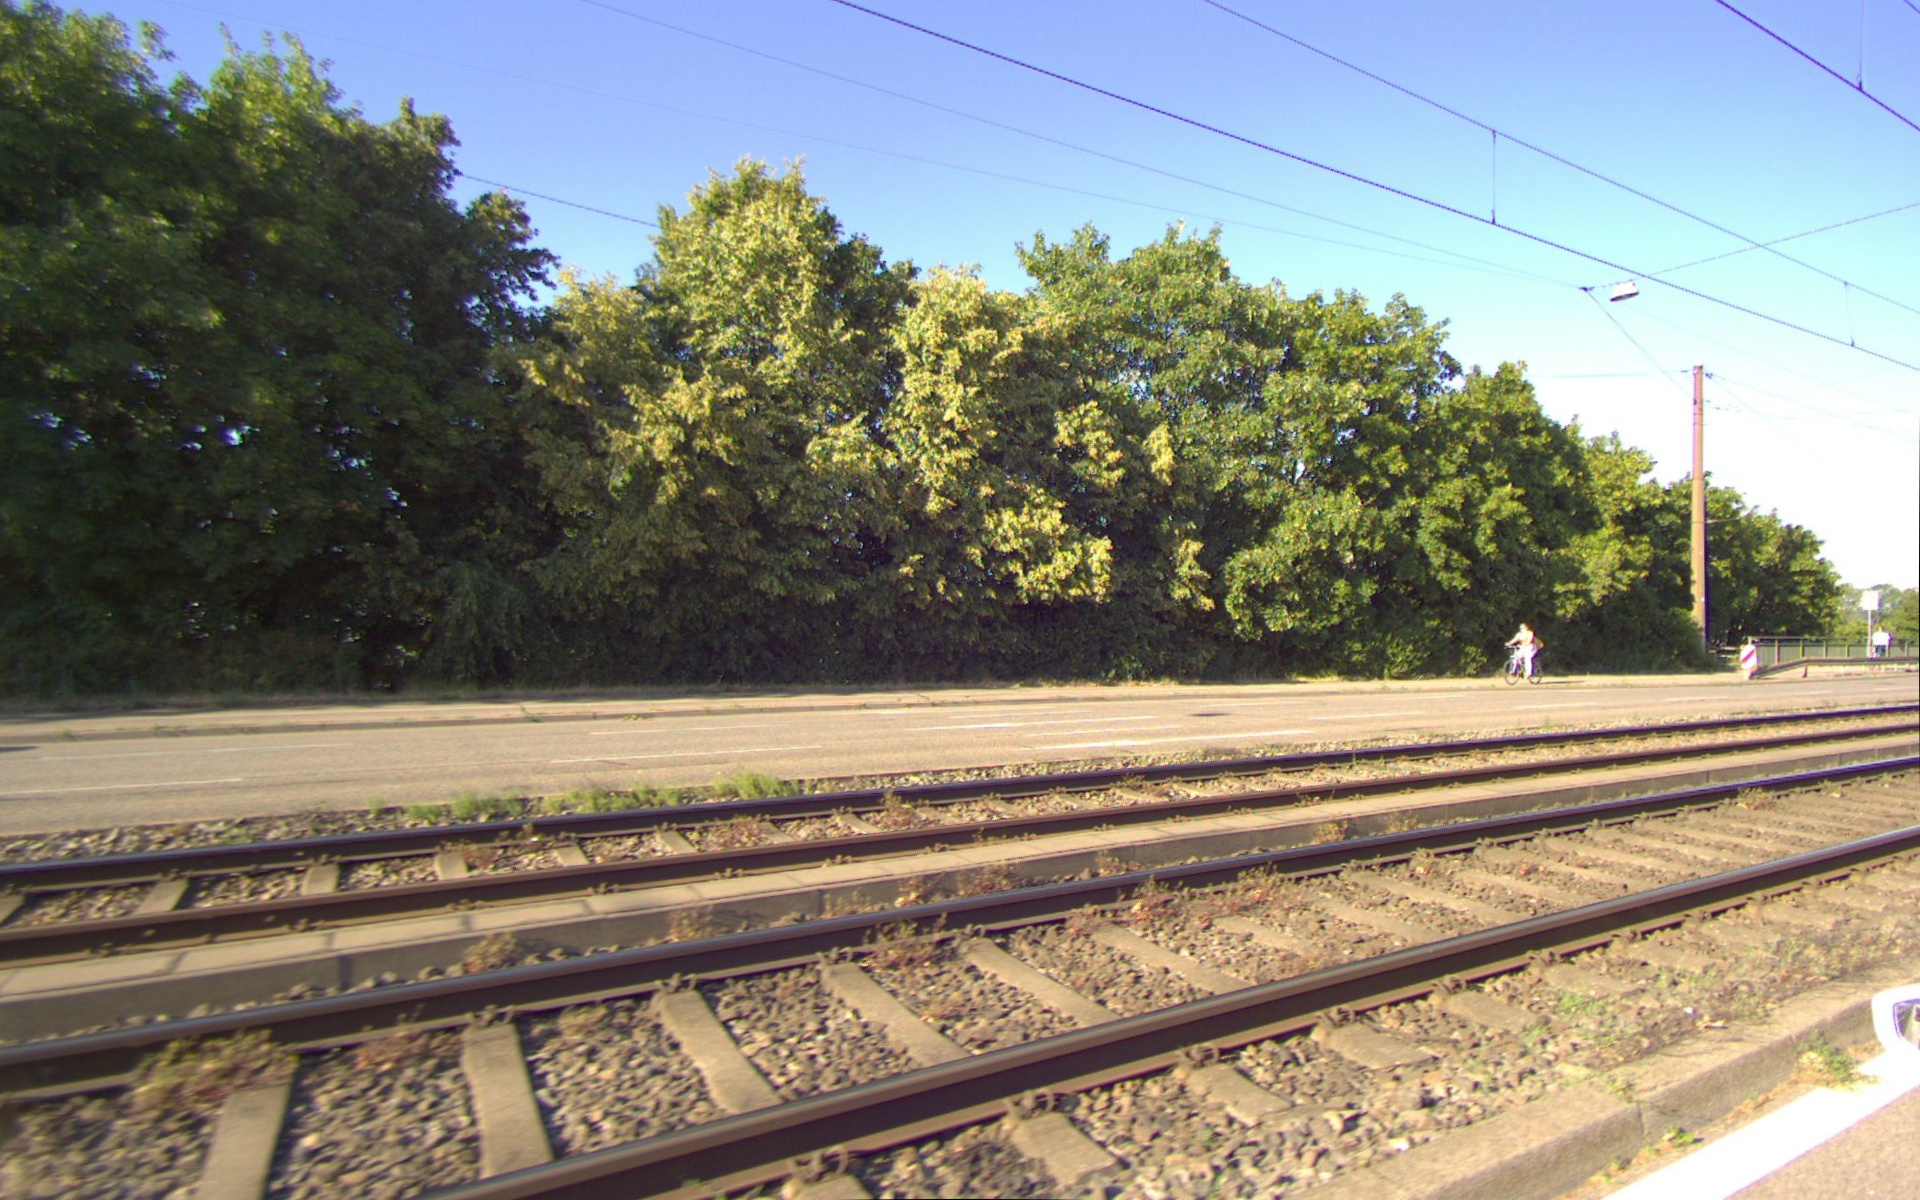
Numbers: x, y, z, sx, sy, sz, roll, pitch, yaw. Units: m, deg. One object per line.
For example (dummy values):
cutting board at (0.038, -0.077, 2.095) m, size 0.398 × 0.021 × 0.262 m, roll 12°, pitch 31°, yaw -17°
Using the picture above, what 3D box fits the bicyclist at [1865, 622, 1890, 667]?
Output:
bicyclist at (39.547, 1.903, 43.294) m, size 0.865 × 1.887 × 0.537 m, roll 1°, pitch 1°, yaw -30°

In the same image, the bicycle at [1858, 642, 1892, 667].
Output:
bicycle at (39.353, 2.343, 43.193) m, size 1.903 × 1.057 × 0.537 m, roll 2°, pitch 0°, yaw -31°

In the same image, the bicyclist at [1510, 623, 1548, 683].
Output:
bicyclist at (16.565, 1.541, 29.240) m, size 0.907 × 1.710 × 0.506 m, roll 2°, pitch 1°, yaw -27°

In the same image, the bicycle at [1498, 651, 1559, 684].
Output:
bicycle at (16.554, 1.954, 29.245) m, size 2.001 × 0.904 × 0.505 m, roll 2°, pitch 0°, yaw -28°
